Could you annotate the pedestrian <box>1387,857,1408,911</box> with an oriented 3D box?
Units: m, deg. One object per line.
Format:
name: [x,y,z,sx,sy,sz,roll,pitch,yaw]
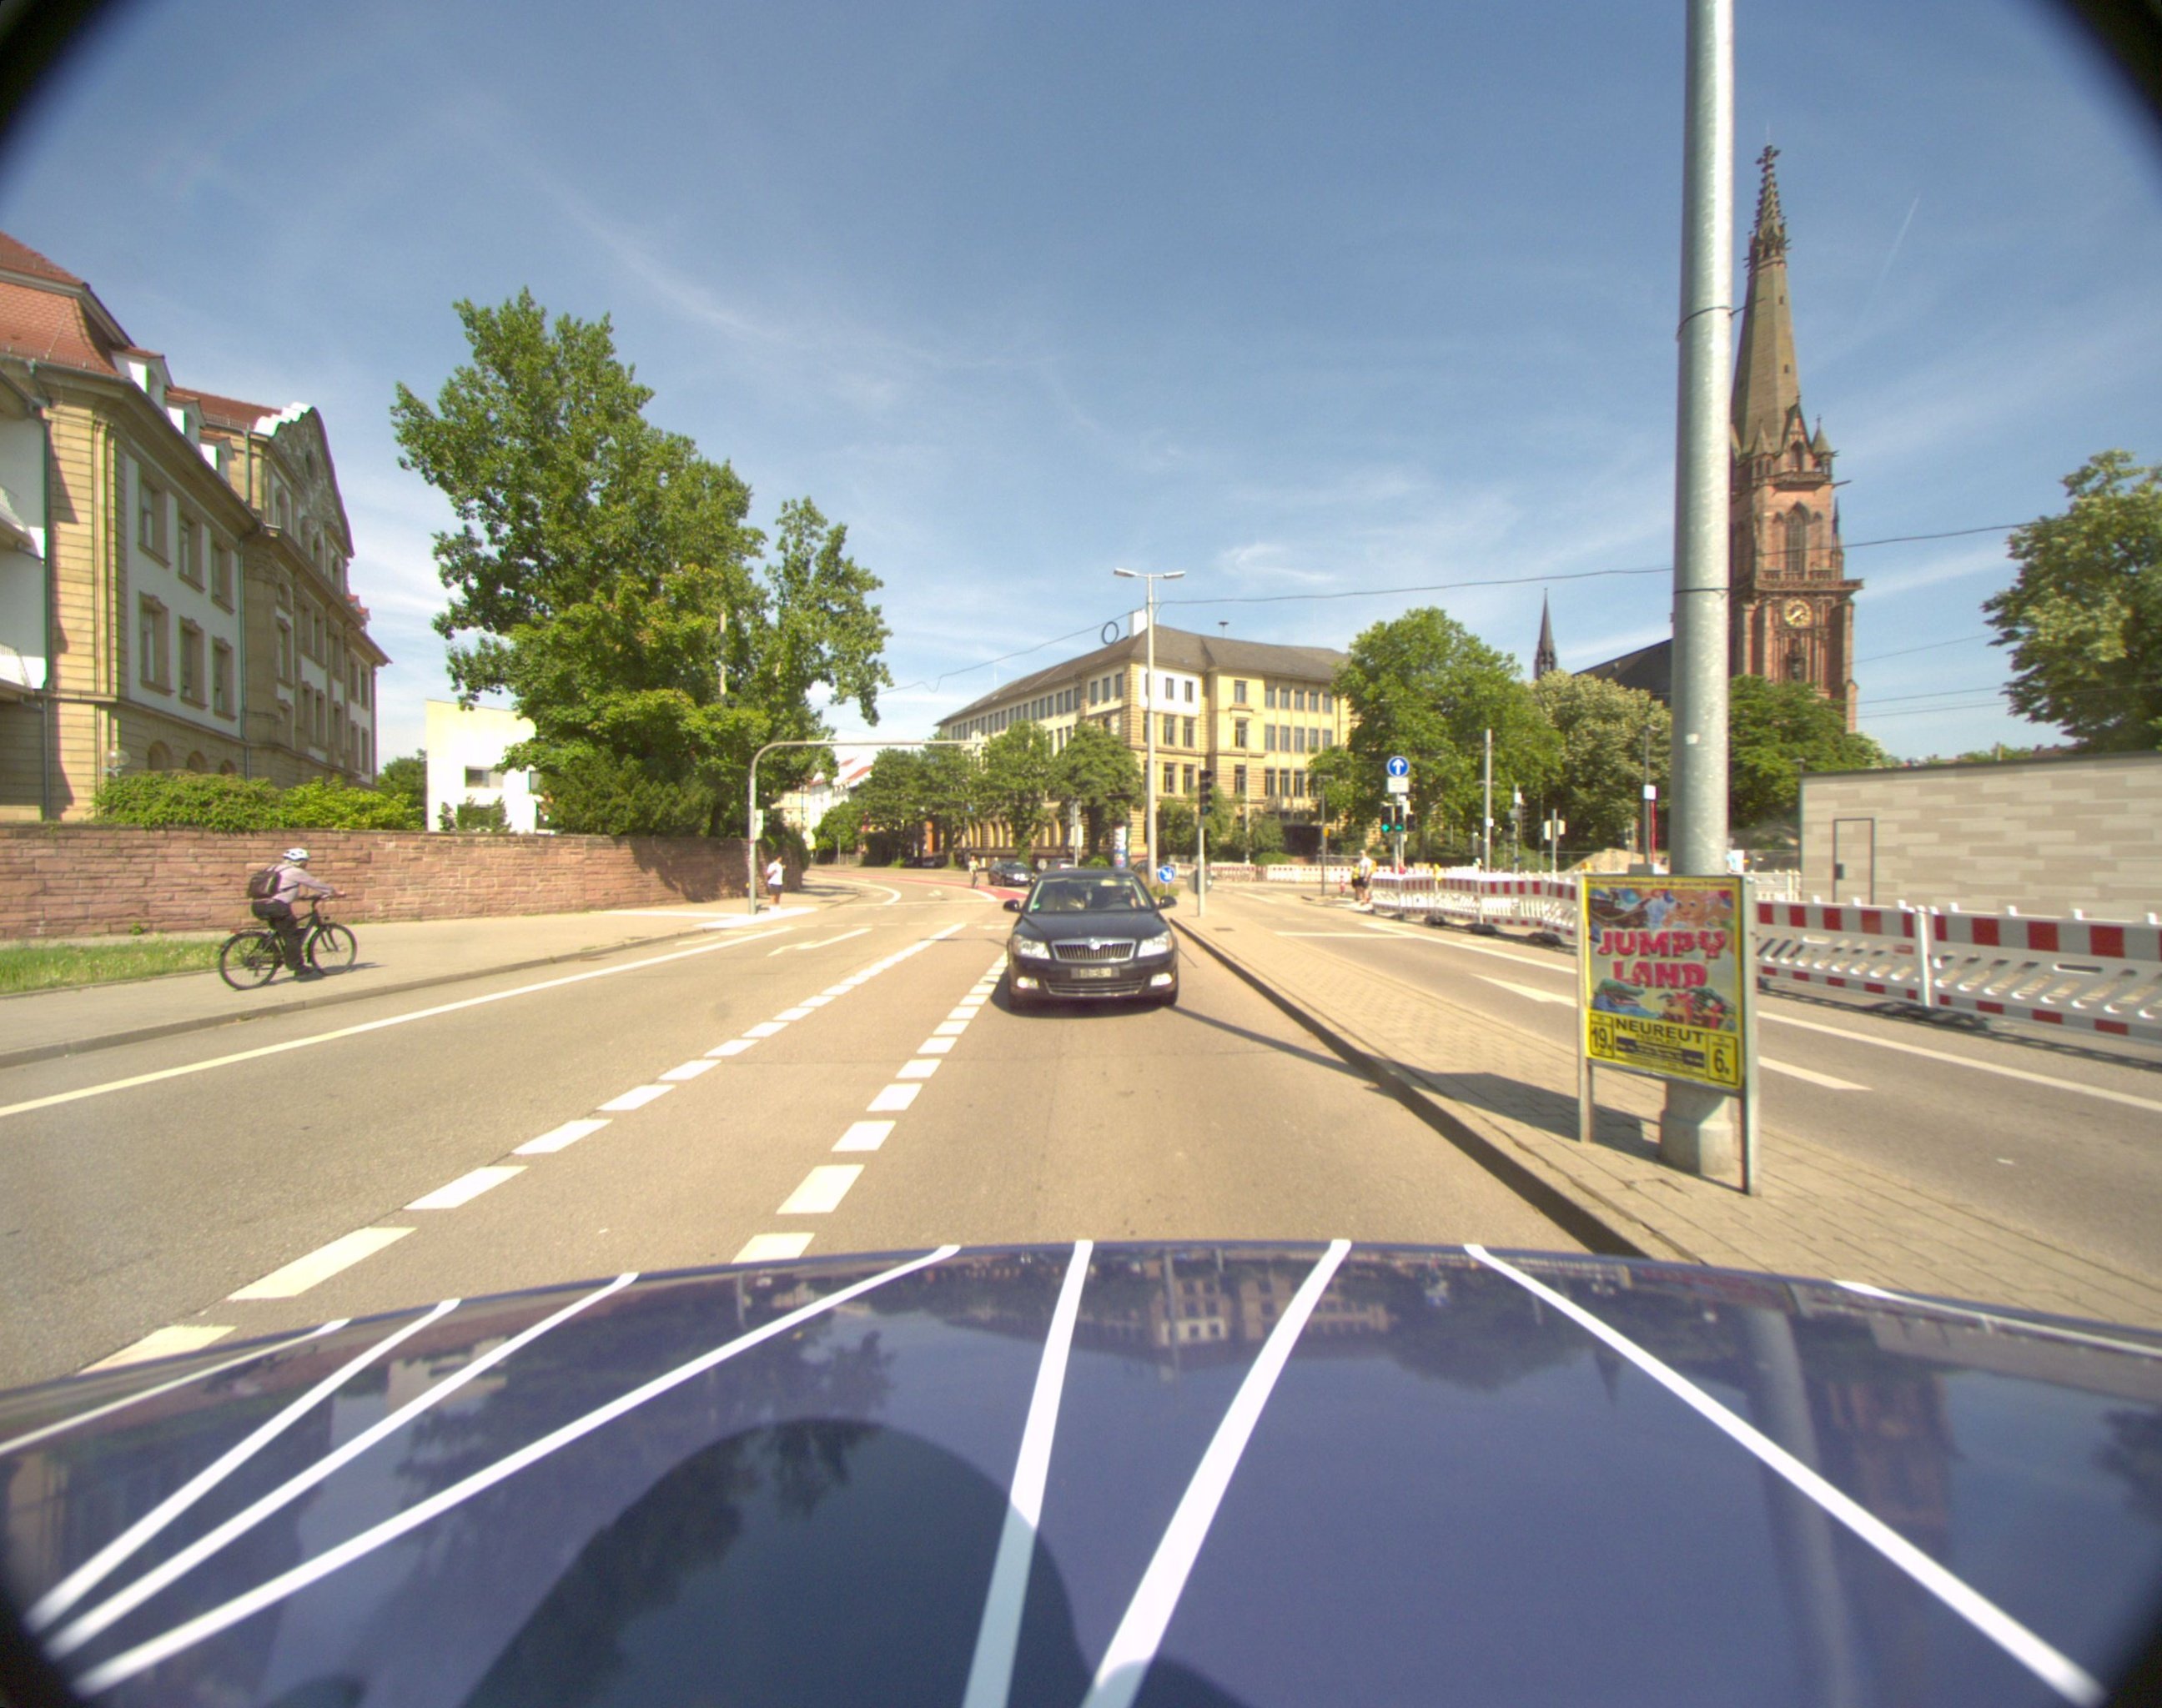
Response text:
pedestrian: [9.558,0.884,22.943,0.350,1.606,0.686,0,1,2]

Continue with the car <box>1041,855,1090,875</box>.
car: [-1.229,0.799,58.081,1.803,1.403,3.989,1,0,-36]

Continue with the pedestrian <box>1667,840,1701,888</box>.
pedestrian: [20.775,0.345,26.175,0.792,1.606,0.663,-1,0,26]

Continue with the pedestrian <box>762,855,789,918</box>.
pedestrian: [-9.255,0.974,23.029,0.654,1.863,0.795,2,0,-18]

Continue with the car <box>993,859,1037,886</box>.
car: [-3.763,1.004,42.549,1.804,1.368,4.271,-1,1,-14]

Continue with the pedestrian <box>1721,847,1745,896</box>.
pedestrian: [21.867,0.579,25.480,0.584,1.606,0.691,0,0,41]

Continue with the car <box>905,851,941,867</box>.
car: [-20.212,0.613,97.213,4.008,2.002,1.995,0,0,-35]

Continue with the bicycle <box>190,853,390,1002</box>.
bicycle: [-10.124,0.867,9.843,0.680,1.755,1.811,0,0,1]

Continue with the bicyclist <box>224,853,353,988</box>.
bicyclist: [-10.135,0.816,9.756,0.680,1.646,0.919,0,1,1]

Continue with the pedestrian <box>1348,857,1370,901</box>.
pedestrian: [9.898,0.897,27.040,0.666,1.534,0.424,-3,1,22]

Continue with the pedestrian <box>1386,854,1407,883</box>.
pedestrian: [17.995,0.823,43.313,0.939,1.646,0.845,0,1,9]

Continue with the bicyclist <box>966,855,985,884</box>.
bicyclist: [-5.646,0.824,40.656,0.589,1.539,0.929,-3,2,-31]

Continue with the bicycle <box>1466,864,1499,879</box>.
bicycle: [25.352,1.090,47.993,0.703,0.941,1.661,0,1,-39]

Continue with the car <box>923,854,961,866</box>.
car: [-16.941,0.752,92.534,4.008,1.455,1.995,0,0,-35]

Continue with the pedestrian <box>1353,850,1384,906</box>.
pedestrian: [9.416,0.770,24.882,0.840,1.802,0.650,-1,0,10]

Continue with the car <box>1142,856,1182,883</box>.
car: [4.799,0.895,45.389,1.671,1.442,3.816,1,0,-4]

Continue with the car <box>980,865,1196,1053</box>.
car: [-0.007,0.944,8.987,1.864,1.510,4.826,0,1,-2]

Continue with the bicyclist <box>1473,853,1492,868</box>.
bicyclist: [25.349,0.420,47.976,0.684,0.921,0.867,-1,1,-38]

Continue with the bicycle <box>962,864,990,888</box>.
bicycle: [-5.630,1.145,40.665,0.687,1.215,2.181,0,0,-32]
